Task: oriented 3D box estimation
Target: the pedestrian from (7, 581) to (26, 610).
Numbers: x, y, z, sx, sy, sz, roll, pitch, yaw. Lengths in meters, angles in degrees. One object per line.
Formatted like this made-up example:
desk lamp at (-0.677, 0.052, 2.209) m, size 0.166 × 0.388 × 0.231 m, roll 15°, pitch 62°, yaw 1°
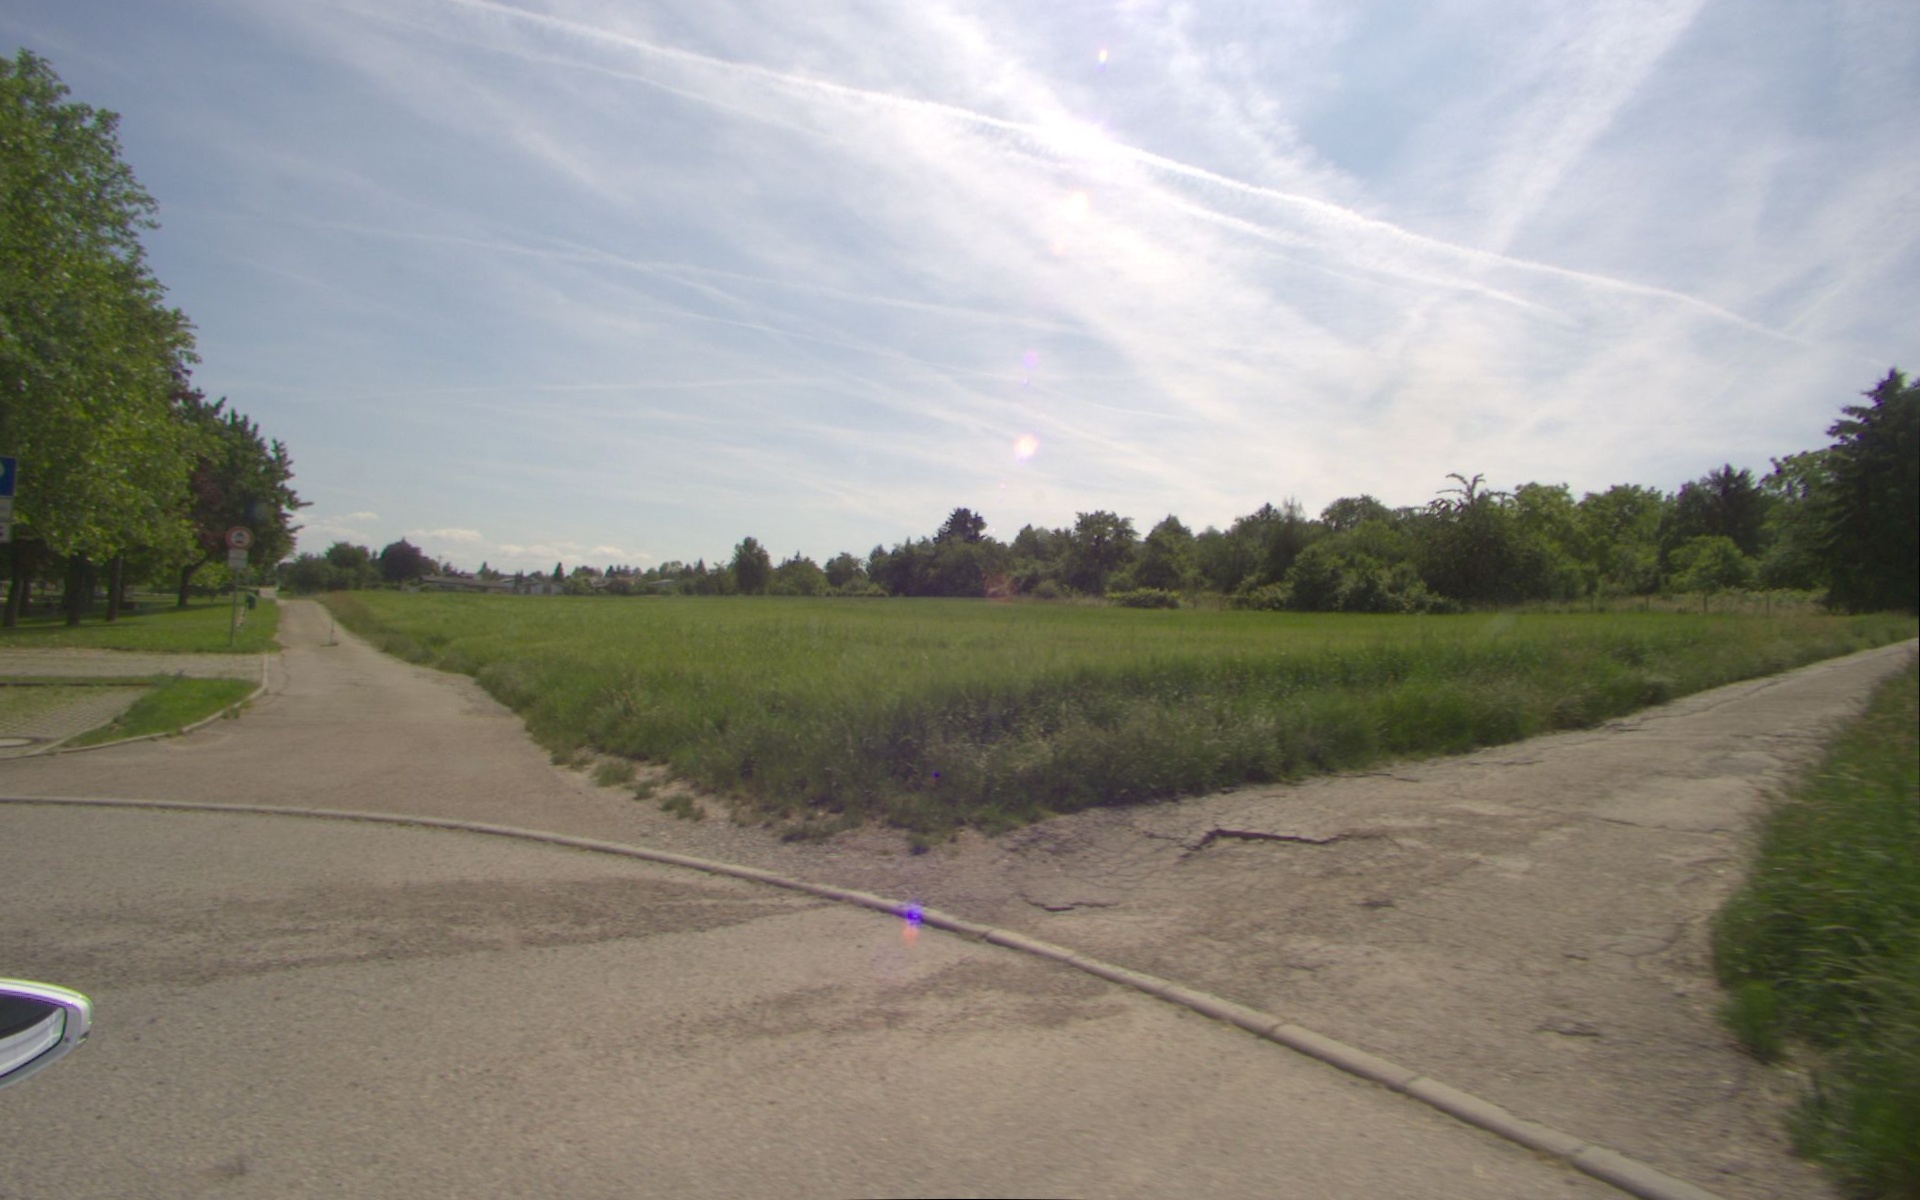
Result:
pedestrian at (-68.149, -0.340, 72.357) m, size 0.683 × 2.039 × 0.830 m, roll 1°, pitch -2°, yaw 38°

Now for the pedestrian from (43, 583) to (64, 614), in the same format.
pedestrian at (-61.097, -0.095, 67.516) m, size 0.789 × 2.039 × 0.683 m, roll 2°, pitch -1°, yaw 22°
